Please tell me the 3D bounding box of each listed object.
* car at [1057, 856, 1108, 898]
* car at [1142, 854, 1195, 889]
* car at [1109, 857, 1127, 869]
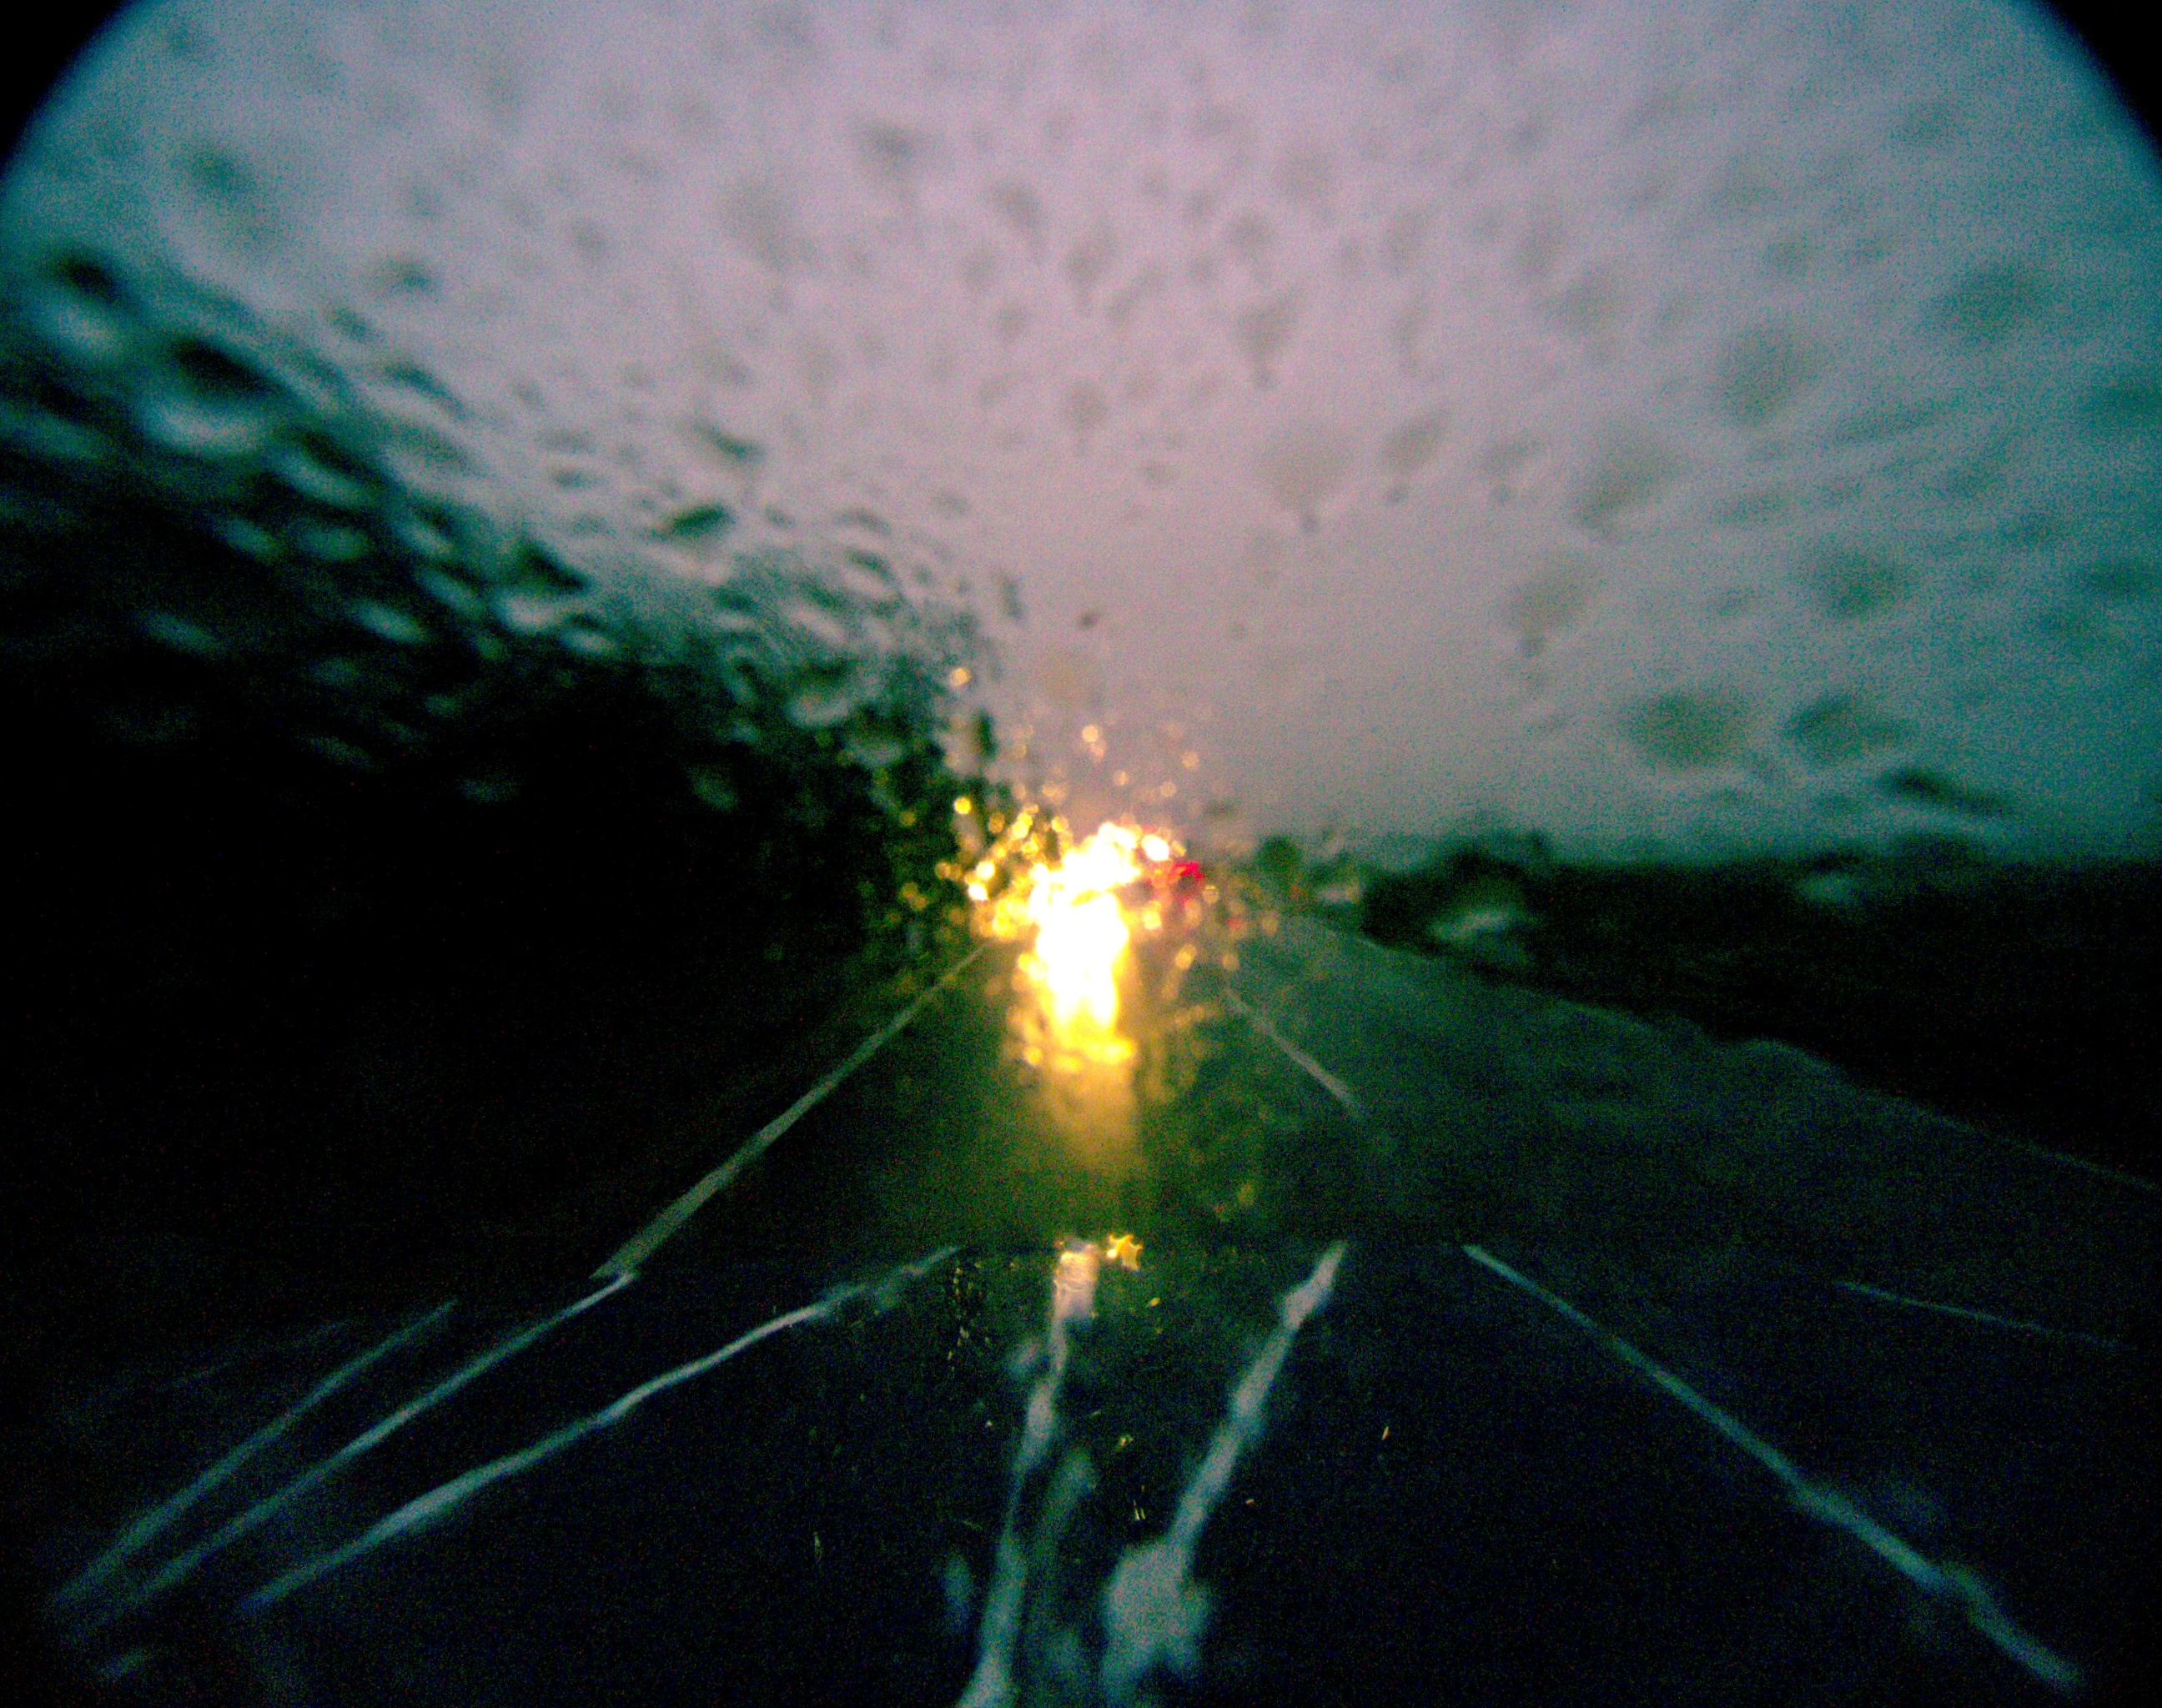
[{"bbox_3d":[0.055,0.853,29.891,1.844,1.484,3.955,-1,1,0],"label":"car"},{"bbox_3d":[4.159,0.789,36.785,1.998,1.455,4.351,3,1,1],"label":"car"},{"bbox_3d":[4.520,1.039,92.226,1.998,1.364,4.397,-1,1,1],"label":"car"}]
